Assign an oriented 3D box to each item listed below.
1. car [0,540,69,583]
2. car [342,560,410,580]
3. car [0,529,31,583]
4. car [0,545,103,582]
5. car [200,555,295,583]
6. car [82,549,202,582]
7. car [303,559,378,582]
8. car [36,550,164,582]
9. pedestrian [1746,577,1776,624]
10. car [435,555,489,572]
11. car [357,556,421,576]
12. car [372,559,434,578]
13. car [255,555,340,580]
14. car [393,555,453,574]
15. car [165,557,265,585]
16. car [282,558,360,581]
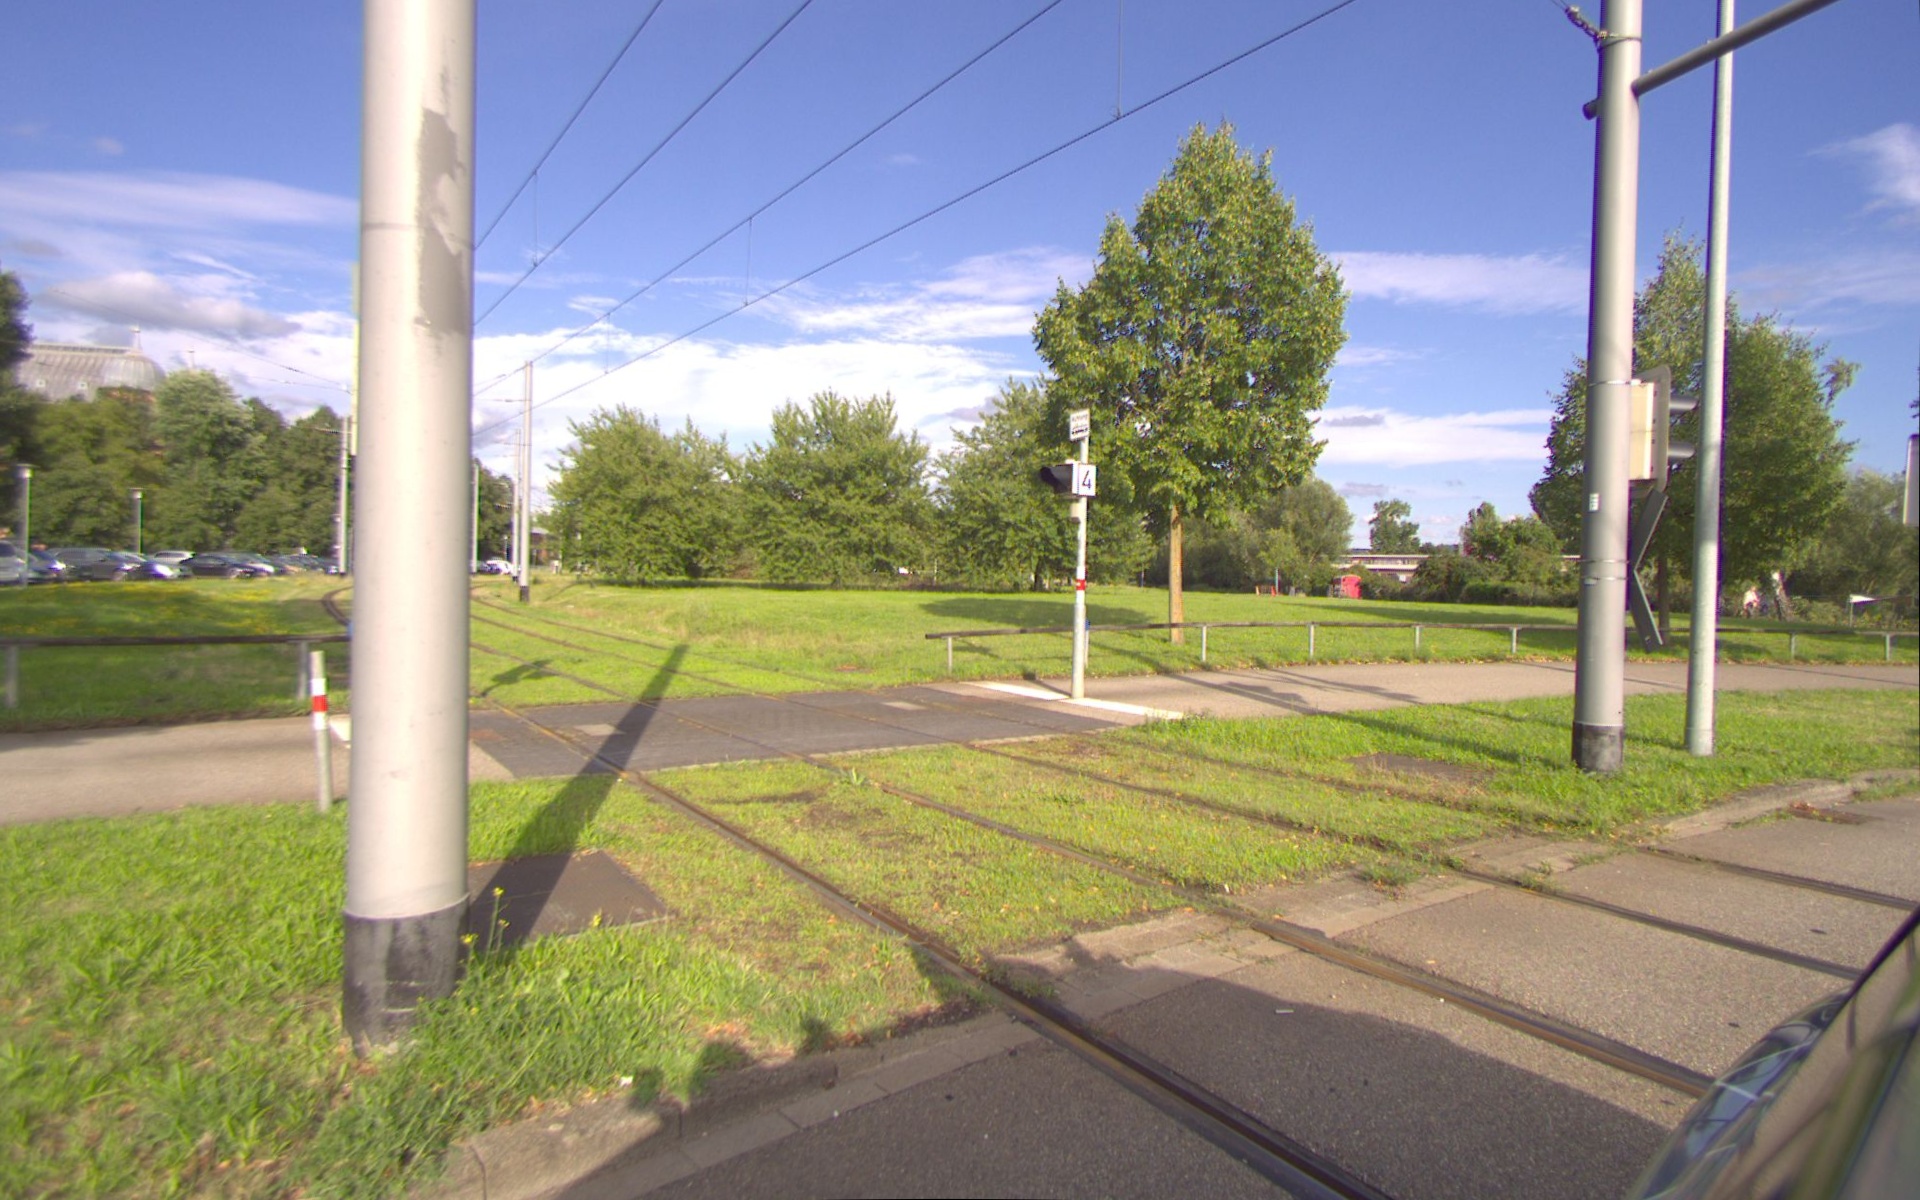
[{"bbox_3d":[-39.595,-1.598,41.416,4.383,1.695,2.104,1,2,-1],"label":"car"},{"bbox_3d":[-47.372,-2.462,82.144,4.377,1.493,1.803,1,2,-8],"label":"car"},{"bbox_3d":[-38.899,-1.725,38.392,5.010,2.032,2.320,1,2,-6],"label":"car"},{"bbox_3d":[-39.812,-1.589,43.629,4.033,1.534,2.038,1,2,-1],"label":"car"},{"bbox_3d":[-42.862,-1.889,60.956,4.379,1.560,1.862,1,2,-5],"label":"car"},{"bbox_3d":[-40.925,-1.732,50.716,4.379,1.523,1.864,1,2,-5],"label":"car"},{"bbox_3d":[-45.929,-2.182,75.120,4.379,1.560,1.862,1,2,-5],"label":"car"},{"bbox_3d":[-40.695,-1.602,47.976,4.379,1.416,1.864,1,2,-5],"label":"car"},{"bbox_3d":[30.818,0.018,38.928,0.653,1.754,0.598,1,1,-21],"label":"pedestrian"},{"bbox_3d":[-48.745,-3.543,99.127,4.386,1.560,1.859,1,2,2],"label":"car"},{"bbox_3d":[-48.126,-2.835,85.346,4.386,1.560,1.859,1,2,2],"label":"car"},{"bbox_3d":[-48.433,-2.728,88.018,4.386,1.560,1.859,1,2,2],"label":"car"},{"bbox_3d":[-44.065,-2.172,67.421,4.379,1.560,1.862,1,2,-5],"label":"car"},{"bbox_3d":[-48.188,-3.194,90.845,4.386,1.560,1.859,1,2,2],"label":"car"},{"bbox_3d":[-42.871,-1.680,58.314,4.379,1.534,1.806,1,2,-5],"label":"car"},{"bbox_3d":[-45.622,-2.178,72.352,4.379,1.560,1.862,1,2,-5],"label":"car"}]
